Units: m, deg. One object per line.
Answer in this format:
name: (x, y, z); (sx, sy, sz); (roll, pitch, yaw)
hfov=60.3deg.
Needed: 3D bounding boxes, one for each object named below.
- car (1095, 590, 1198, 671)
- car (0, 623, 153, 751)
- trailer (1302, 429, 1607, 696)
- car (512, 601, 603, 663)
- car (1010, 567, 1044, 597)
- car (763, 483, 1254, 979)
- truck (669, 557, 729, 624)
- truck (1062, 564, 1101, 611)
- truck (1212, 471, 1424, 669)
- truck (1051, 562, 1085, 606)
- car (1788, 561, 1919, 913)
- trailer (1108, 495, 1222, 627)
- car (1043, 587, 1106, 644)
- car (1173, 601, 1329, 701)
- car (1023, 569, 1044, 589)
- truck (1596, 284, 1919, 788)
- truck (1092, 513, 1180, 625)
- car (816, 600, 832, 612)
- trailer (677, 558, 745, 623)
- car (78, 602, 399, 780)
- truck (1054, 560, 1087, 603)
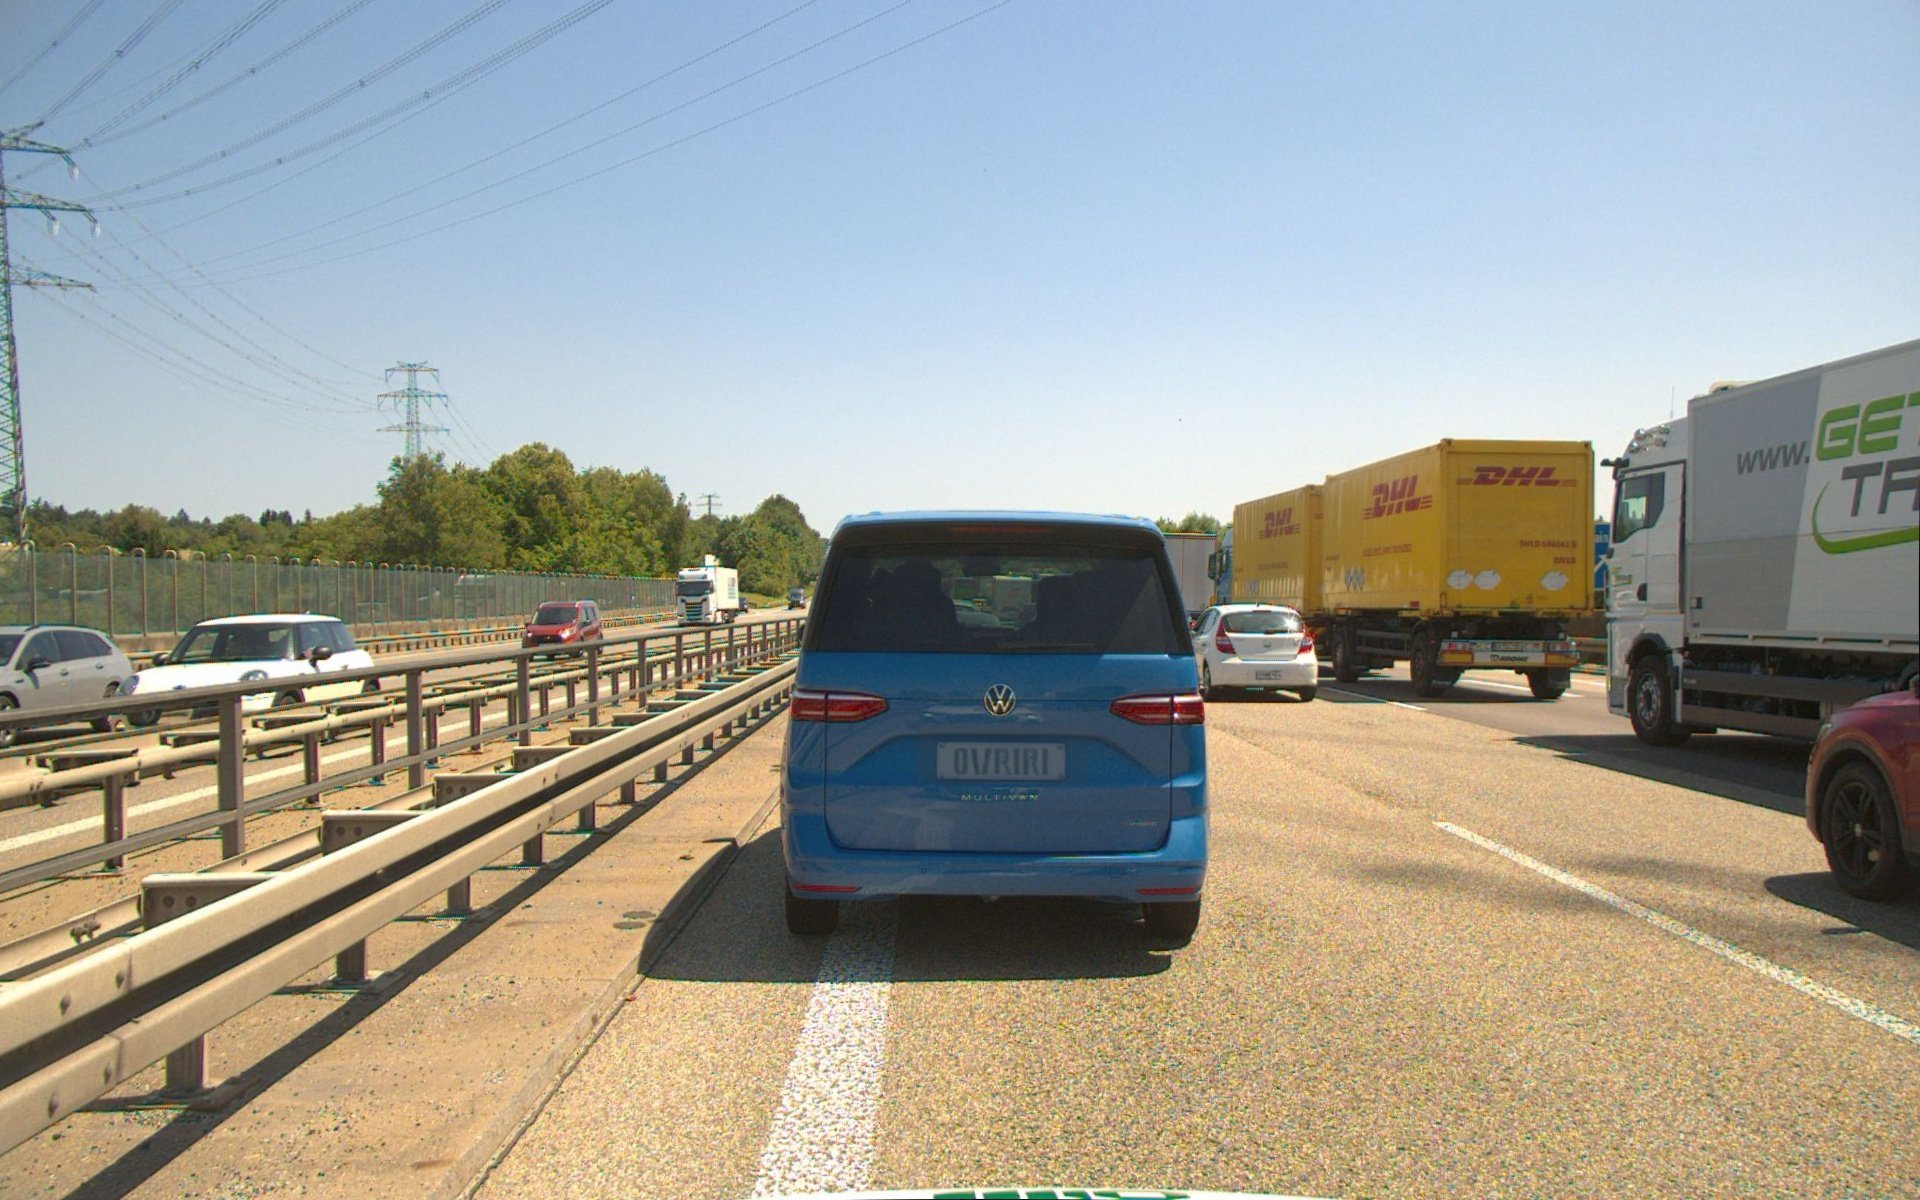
car: (4.156, 0.665, 37.413); (1.778, 1.708, 3.931); (1, -1, -2)
car: (-12.262, 1.080, 21.084); (1.834, 1.467, 4.384); (-2, 0, -1)
trailer: (8.722, -0.554, 30.554); (2.628, 4.159, 8.976); (1, -1, -2)
car: (-12.766, 0.987, 52.722); (1.802, 1.854, 4.746); (-1, -1, -2)
car: (4.190, -1.097, 103.408); (1.880, 1.736, 3.999); (1, -1, -1)
car: (0.169, 0.531, 8.467); (1.891, 1.906, 3.999); (1, -1, -1)
truck: (-18.050, -0.602, 114.718); (2.869, 4.368, 6.857); (-3, -1, 0)
truck: (6.694, -0.676, 91.585); (1.761, 2.492, 4.503); (1, -1, -1)
truck: (8.350, -0.587, 39.972); (2.645, 4.159, 9.935); (1, -1, -2)
truck: (6.535, -0.943, 100.286); (1.706, 2.593, 4.209); (1, -1, -1)
car: (5.520, 0.672, 7.157); (1.674, 1.708, 4.284); (1, -1, -1)
trailer: (7.856, -1.360, 64.884); (2.964, 4.692, 10.923); (1, -1, 0)
car: (4.129, 0.549, 60.107); (1.922, 1.970, 3.931); (1, -1, -1)
car: (4.689, 0.797, 27.183); (1.778, 1.496, 3.931); (1, -1, -1)
car: (6.975, -1.969, 157.100); (1.760, 1.782, 3.942); (1, -1, -1)
truck: (8.988, -0.480, 14.160); (2.794, 4.003, 10.606); (1, -1, -1)
truck: (7.809, -1.290, 74.321); (2.964, 4.692, 7.919); (1, -1, 0)
car: (-16.995, 0.737, 206.861); (1.736, 1.518, 4.604); (-1, 0, 0)
trailer: (-18.100, -0.577, 121.268); (2.847, 4.382, 13.659); (-2, -1, 0)
car: (-7.657, 0.891, 17.954); (1.834, 1.556, 3.607); (-5, 0, -1)
truck: (7.059, -1.174, 105.788); (1.760, 2.641, 4.304); (1, -1, -1)
